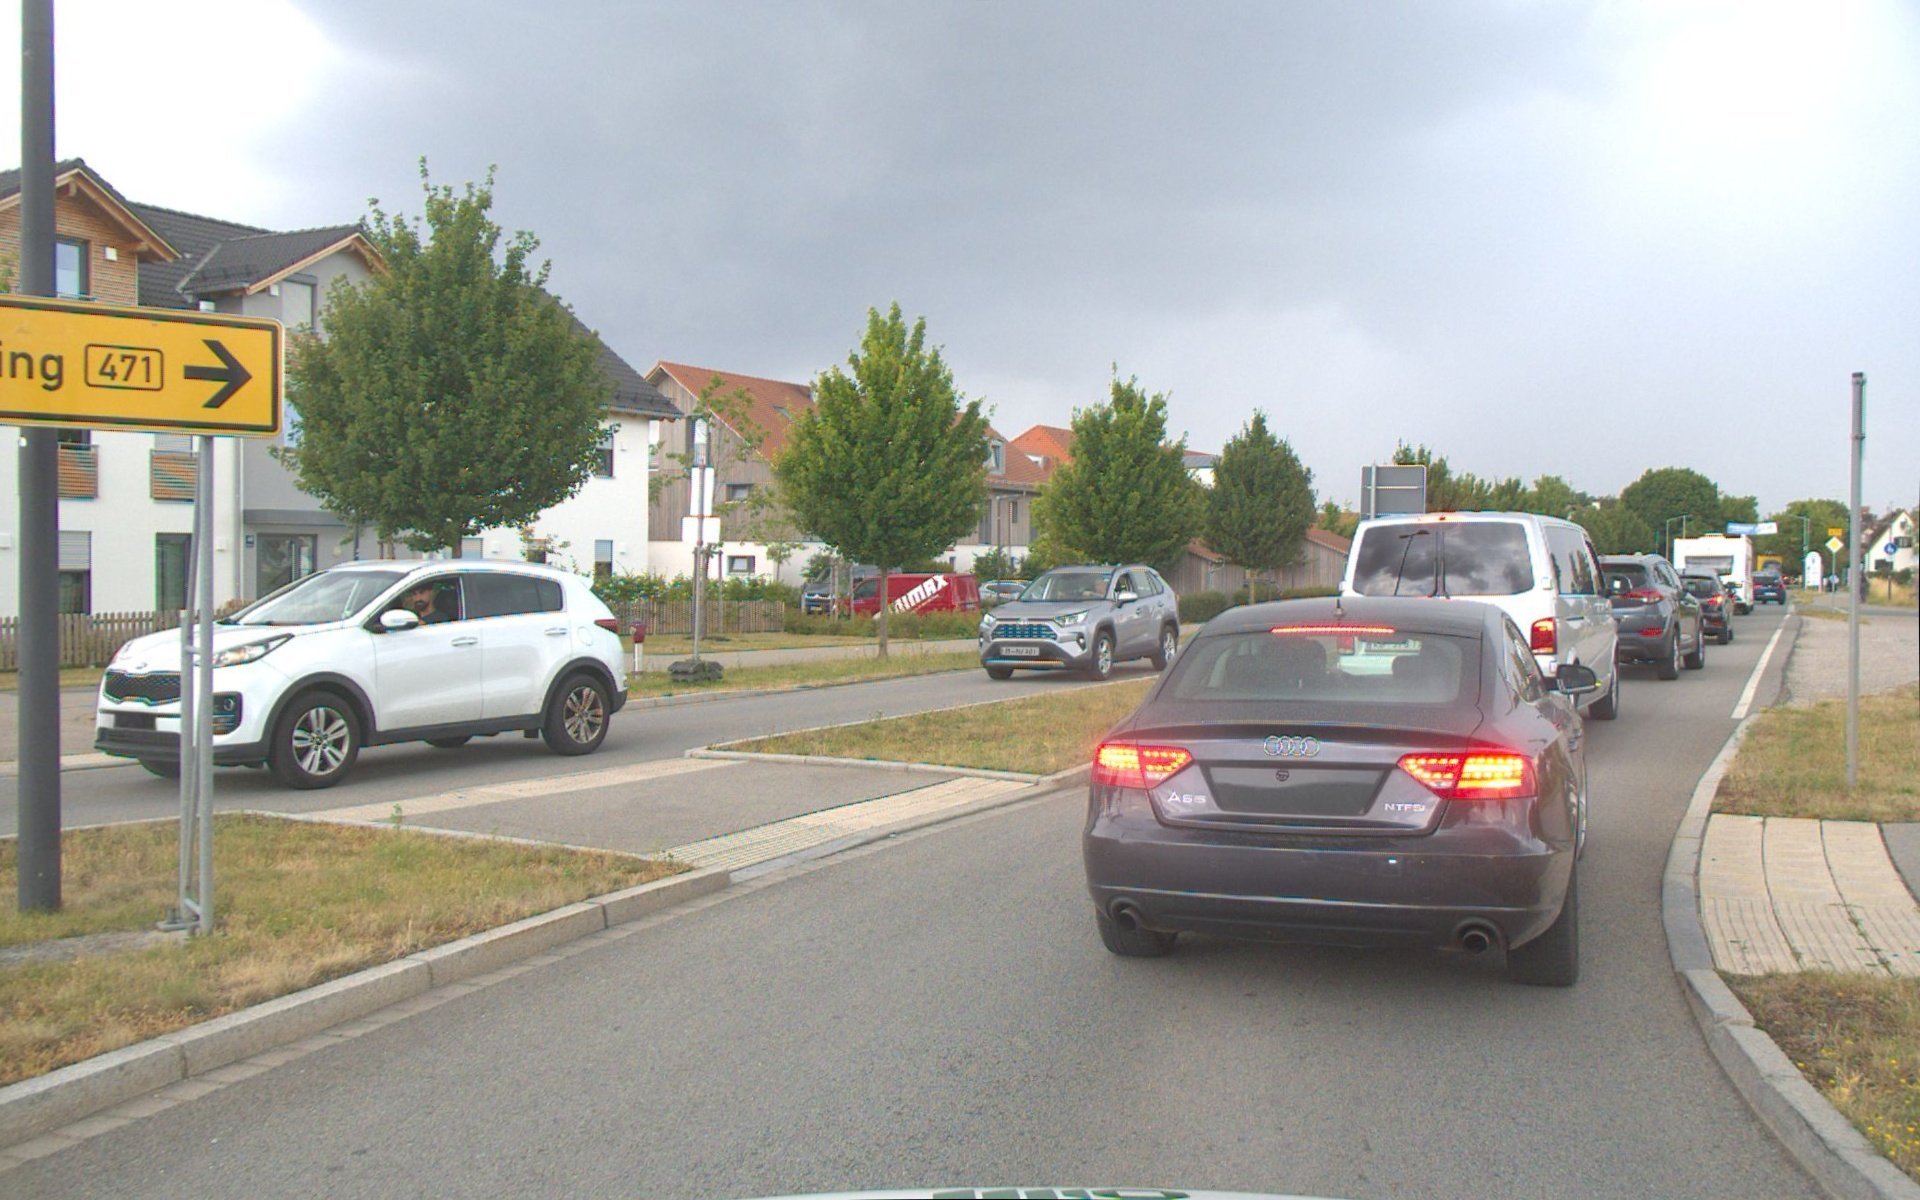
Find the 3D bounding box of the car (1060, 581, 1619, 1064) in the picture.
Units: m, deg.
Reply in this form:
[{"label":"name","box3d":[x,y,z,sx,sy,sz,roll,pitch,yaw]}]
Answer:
[{"label":"car","box3d":[1.929,0.647,7.247,1.747,1.415,4.132,1,1,22]}]

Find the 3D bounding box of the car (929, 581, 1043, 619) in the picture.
[{"label":"car","box3d":[0.962,-0.021,61.713,3.837,1.338,1.841,1,1,25]}]

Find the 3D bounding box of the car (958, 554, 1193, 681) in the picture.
[{"label":"car","box3d":[1.876,0.225,25.181,1.954,1.733,4.631,-1,0,26]}]

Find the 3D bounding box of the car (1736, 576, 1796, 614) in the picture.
[{"label":"car","box3d":[40.264,-0.250,82.713,1.579,1.825,4.004,1,1,9]}]

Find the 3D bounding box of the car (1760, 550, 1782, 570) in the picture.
[{"label":"car","box3d":[92.935,-4.557,189.494,1.957,2.250,3.991,1,2,31]}]

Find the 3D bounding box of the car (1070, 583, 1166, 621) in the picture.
[{"label":"car","box3d":[6.635,0.059,69.559,3.655,1.507,1.686,1,2,25]}]

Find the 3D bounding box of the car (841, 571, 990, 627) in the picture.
[{"label":"car","box3d":[-1.458,-0.061,53.405,4.447,1.709,1.996,1,1,31]}]

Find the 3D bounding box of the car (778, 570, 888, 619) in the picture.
[{"label":"car","box3d":[-4.817,-0.225,63.427,1.958,1.802,4.454,1,1,32]}]

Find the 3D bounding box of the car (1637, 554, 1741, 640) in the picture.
[{"label":"car","box3d":[14.967,-0.087,33.858,1.742,1.646,3.996,0,1,27]}]

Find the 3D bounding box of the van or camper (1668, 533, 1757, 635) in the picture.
[{"label":"van or camper","box3d":[26.678,-0.554,58.477,2.574,3.381,6.814,1,1,27]}]

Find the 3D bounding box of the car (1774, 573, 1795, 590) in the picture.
[{"label":"car","box3d":[72.226,-1.662,144.832,1.582,1.433,3.611,1,1,28]}]

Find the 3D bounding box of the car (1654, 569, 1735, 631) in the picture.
[{"label":"car","box3d":[18.339,-0.019,41.208,1.741,1.459,3.799,0,1,26]}]

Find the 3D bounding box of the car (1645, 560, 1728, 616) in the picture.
[{"label":"car","box3d":[22.092,-0.387,50.216,1.956,1.623,3.994,1,1,28]}]

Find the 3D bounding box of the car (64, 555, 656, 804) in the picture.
[{"label":"car","box3d":[-4.583,0.508,13.354,1.677,1.654,4.441,-1,0,31]}]

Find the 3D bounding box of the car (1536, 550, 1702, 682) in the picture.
[{"label":"car","box3d":[9.287,0.172,23.133,1.742,1.646,3.995,2,1,27]}]

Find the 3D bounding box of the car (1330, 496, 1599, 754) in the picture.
[{"label":"car","box3d":[4.627,0.142,14.778,1.830,1.968,3.999,1,1,24]}]

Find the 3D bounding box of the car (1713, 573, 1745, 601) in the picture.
[{"label":"car","box3d":[56.042,-0.984,120.561,1.955,1.932,3.996,2,1,27]}]
